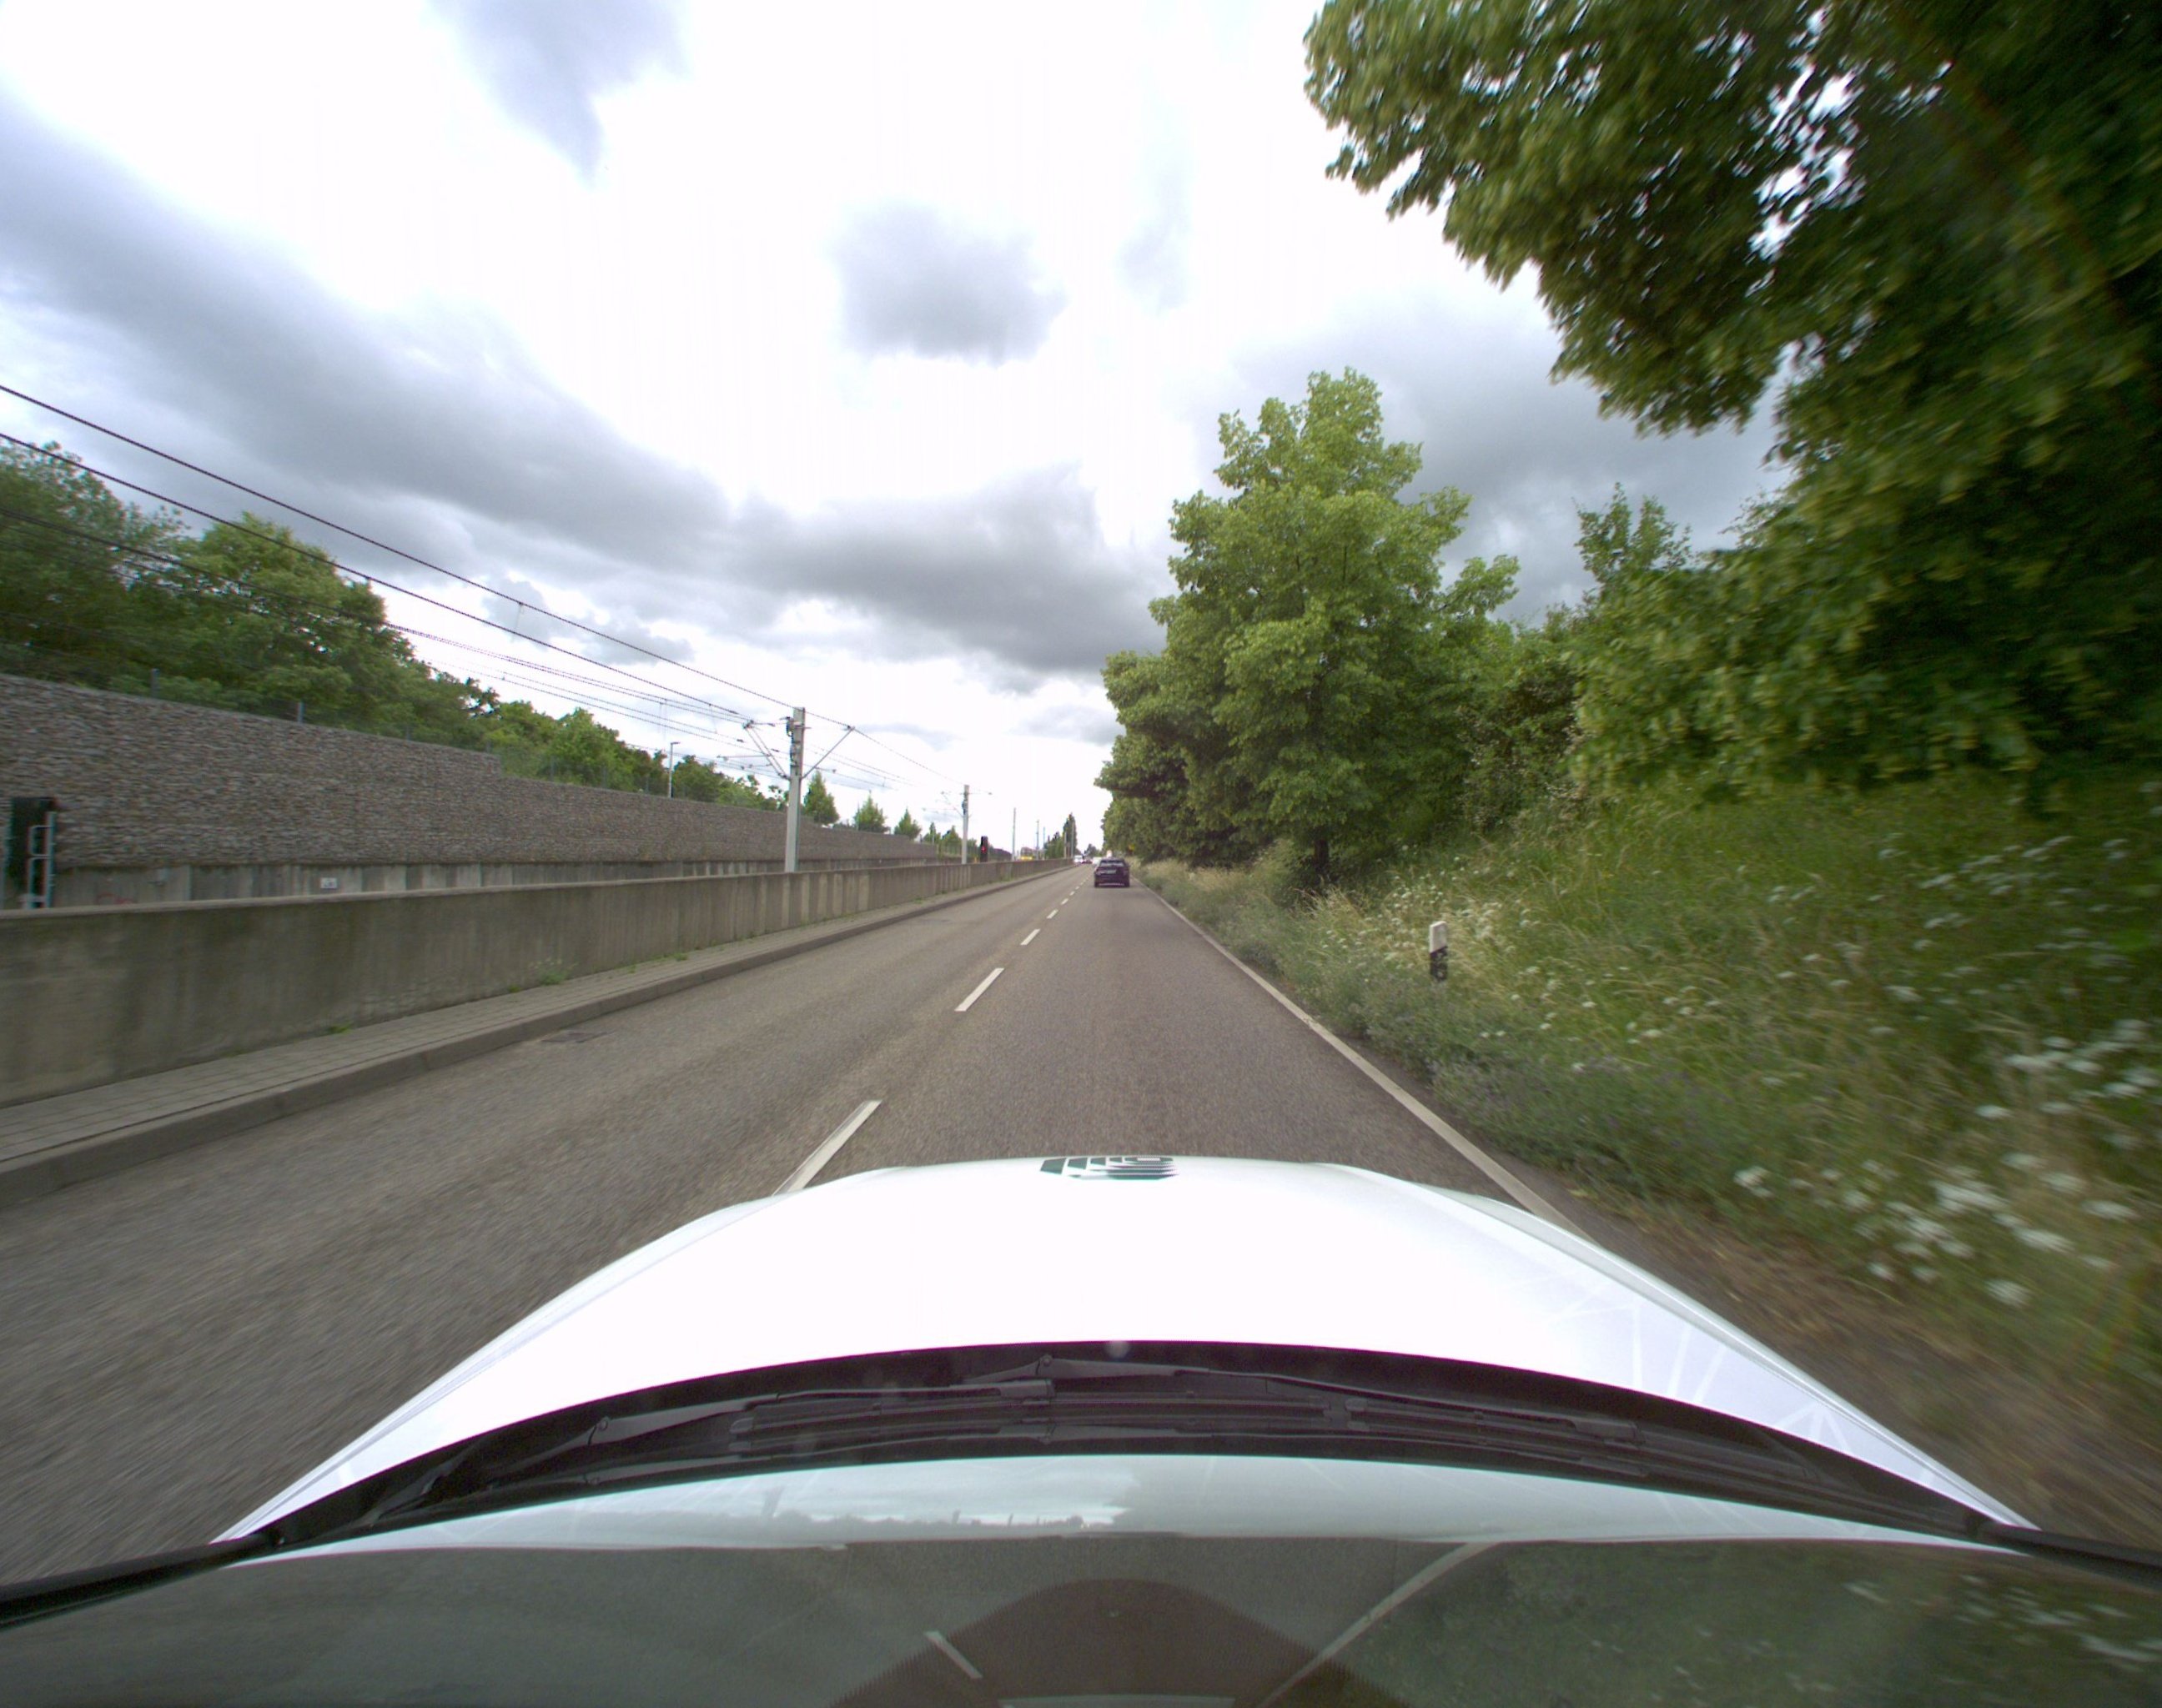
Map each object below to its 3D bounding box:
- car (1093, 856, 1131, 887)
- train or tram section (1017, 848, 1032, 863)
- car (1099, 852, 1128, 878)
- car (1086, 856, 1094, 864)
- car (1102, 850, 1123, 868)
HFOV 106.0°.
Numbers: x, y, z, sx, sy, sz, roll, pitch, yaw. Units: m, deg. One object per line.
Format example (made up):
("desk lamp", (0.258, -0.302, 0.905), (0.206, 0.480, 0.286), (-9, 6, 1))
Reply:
("car", (1.549, 0.856, 40.990), (1.775, 1.468, 4.002), (0, 0, 2))
("train or tram section", (-13.174, 0.515, 188.744), (2.808, 3.117, 18.870), (0, -1, -6))
("car", (2.290, 0.768, 58.187), (1.986, 1.753, 4.002), (0, 0, 2))
("car", (1.869, 1.285, 166.589), (1.657, 1.545, 3.953), (-1, 0, 1))
("car", (3.078, 0.509, 80.172), (1.986, 1.740, 4.001), (0, -1, 2))
